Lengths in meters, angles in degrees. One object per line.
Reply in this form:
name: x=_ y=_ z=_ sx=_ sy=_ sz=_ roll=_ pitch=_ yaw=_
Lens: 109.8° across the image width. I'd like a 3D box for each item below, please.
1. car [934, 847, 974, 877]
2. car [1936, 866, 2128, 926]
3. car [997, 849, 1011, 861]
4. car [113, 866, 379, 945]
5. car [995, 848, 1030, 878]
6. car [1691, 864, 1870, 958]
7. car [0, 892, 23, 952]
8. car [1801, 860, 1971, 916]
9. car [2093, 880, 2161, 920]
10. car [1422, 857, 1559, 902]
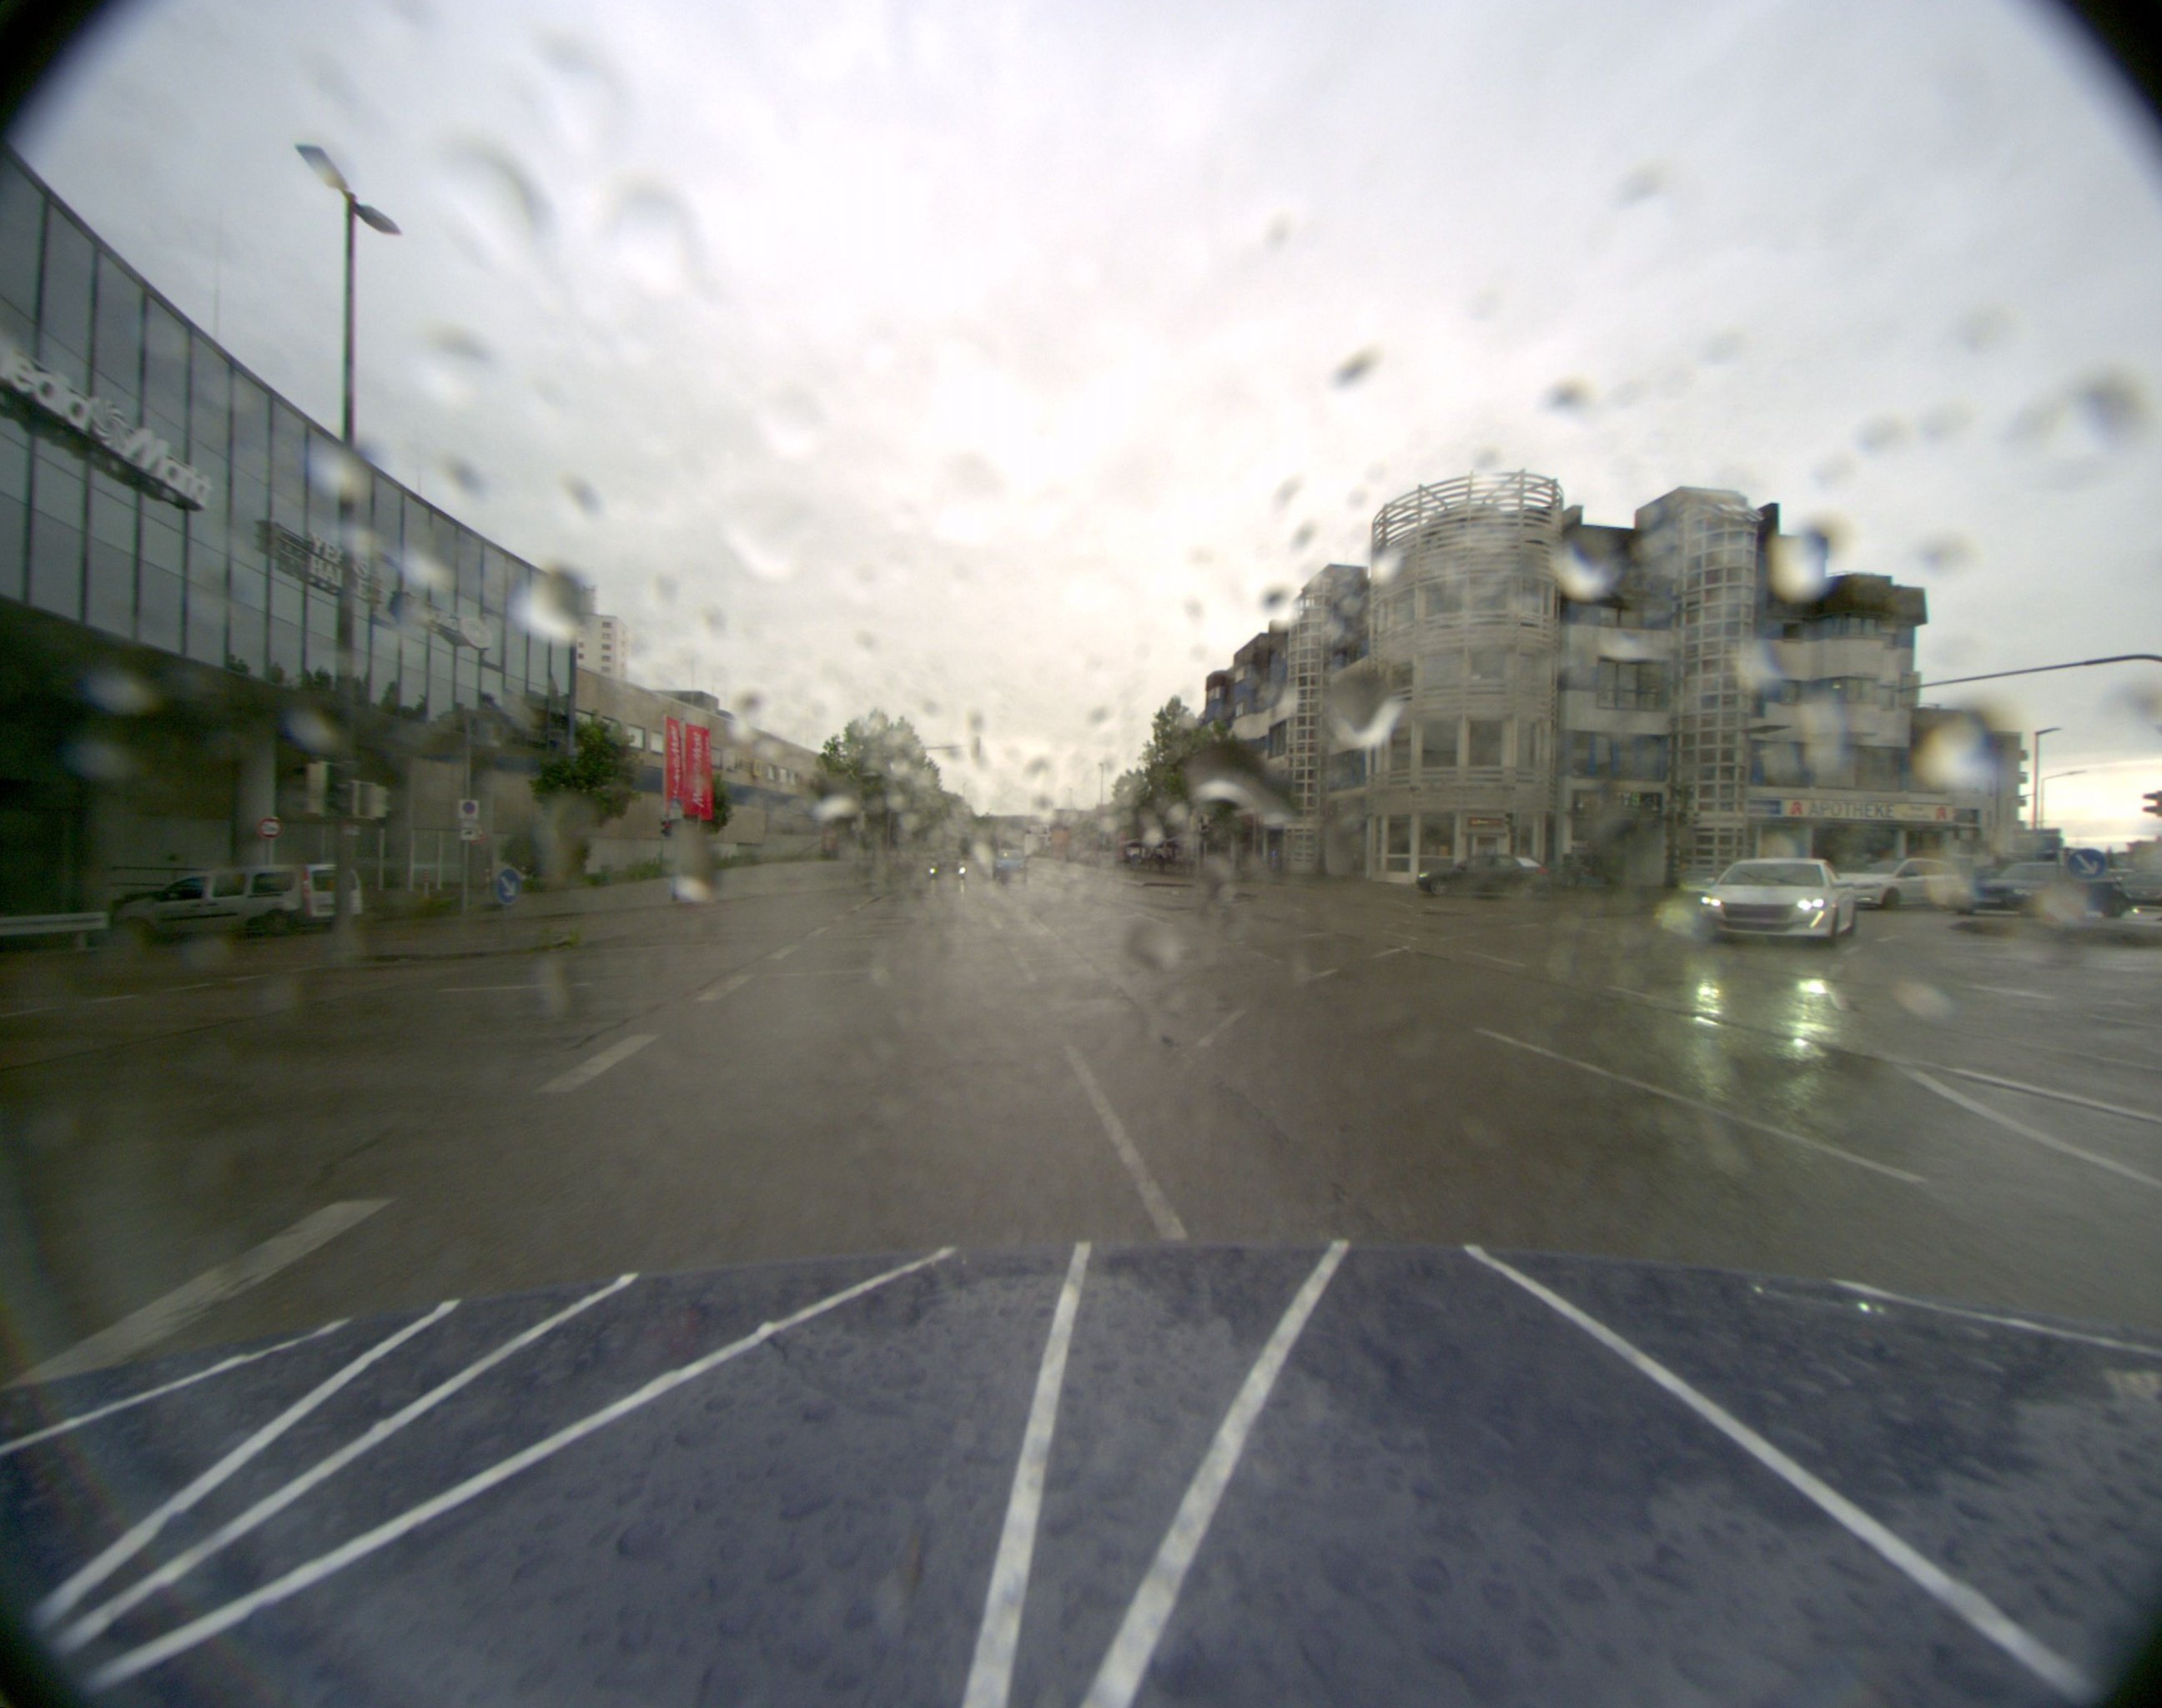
car: x=-6.485 y=0.398 z=39.190 sx=1.744 sy=1.387 sz=3.694 roll=1 pitch=1 yaw=-5
car: x=25.051 y=1.067 z=20.045 sx=3.816 sy=1.446 sz=1.749 roll=1 pitch=1 yaw=-15
car: x=-12.553 y=0.183 z=123.864 sx=1.999 sy=1.765 sz=3.999 roll=1 pitch=-1 yaw=-4
car: x=-20.755 y=1.232 z=19.078 sx=4.295 sy=1.787 sz=1.931 roll=0 pitch=1 yaw=-5
car: x=-3.515 y=0.436 z=38.711 sx=1.679 sy=1.389 sz=3.852 roll=1 pitch=1 yaw=-7
car: x=12.557 y=0.896 z=13.574 sx=3.904 sy=1.401 sz=1.739 roll=0 pitch=0 yaw=-38
car: x=-28.771 y=1.779 z=18.468 sx=3.938 sy=1.455 sz=1.764 roll=-2 pitch=1 yaw=6
car: x=24.031 y=1.003 z=22.713 sx=4.066 sy=1.519 sz=1.732 roll=2 pitch=0 yaw=-15
car: x=41.261 y=1.736 z=29.221 sx=3.978 sy=1.361 sz=1.798 roll=1 pitch=1 yaw=-21
car: x=14.047 y=0.827 z=26.235 sx=4.036 sy=1.435 sz=1.739 roll=0 pitch=0 yaw=28
